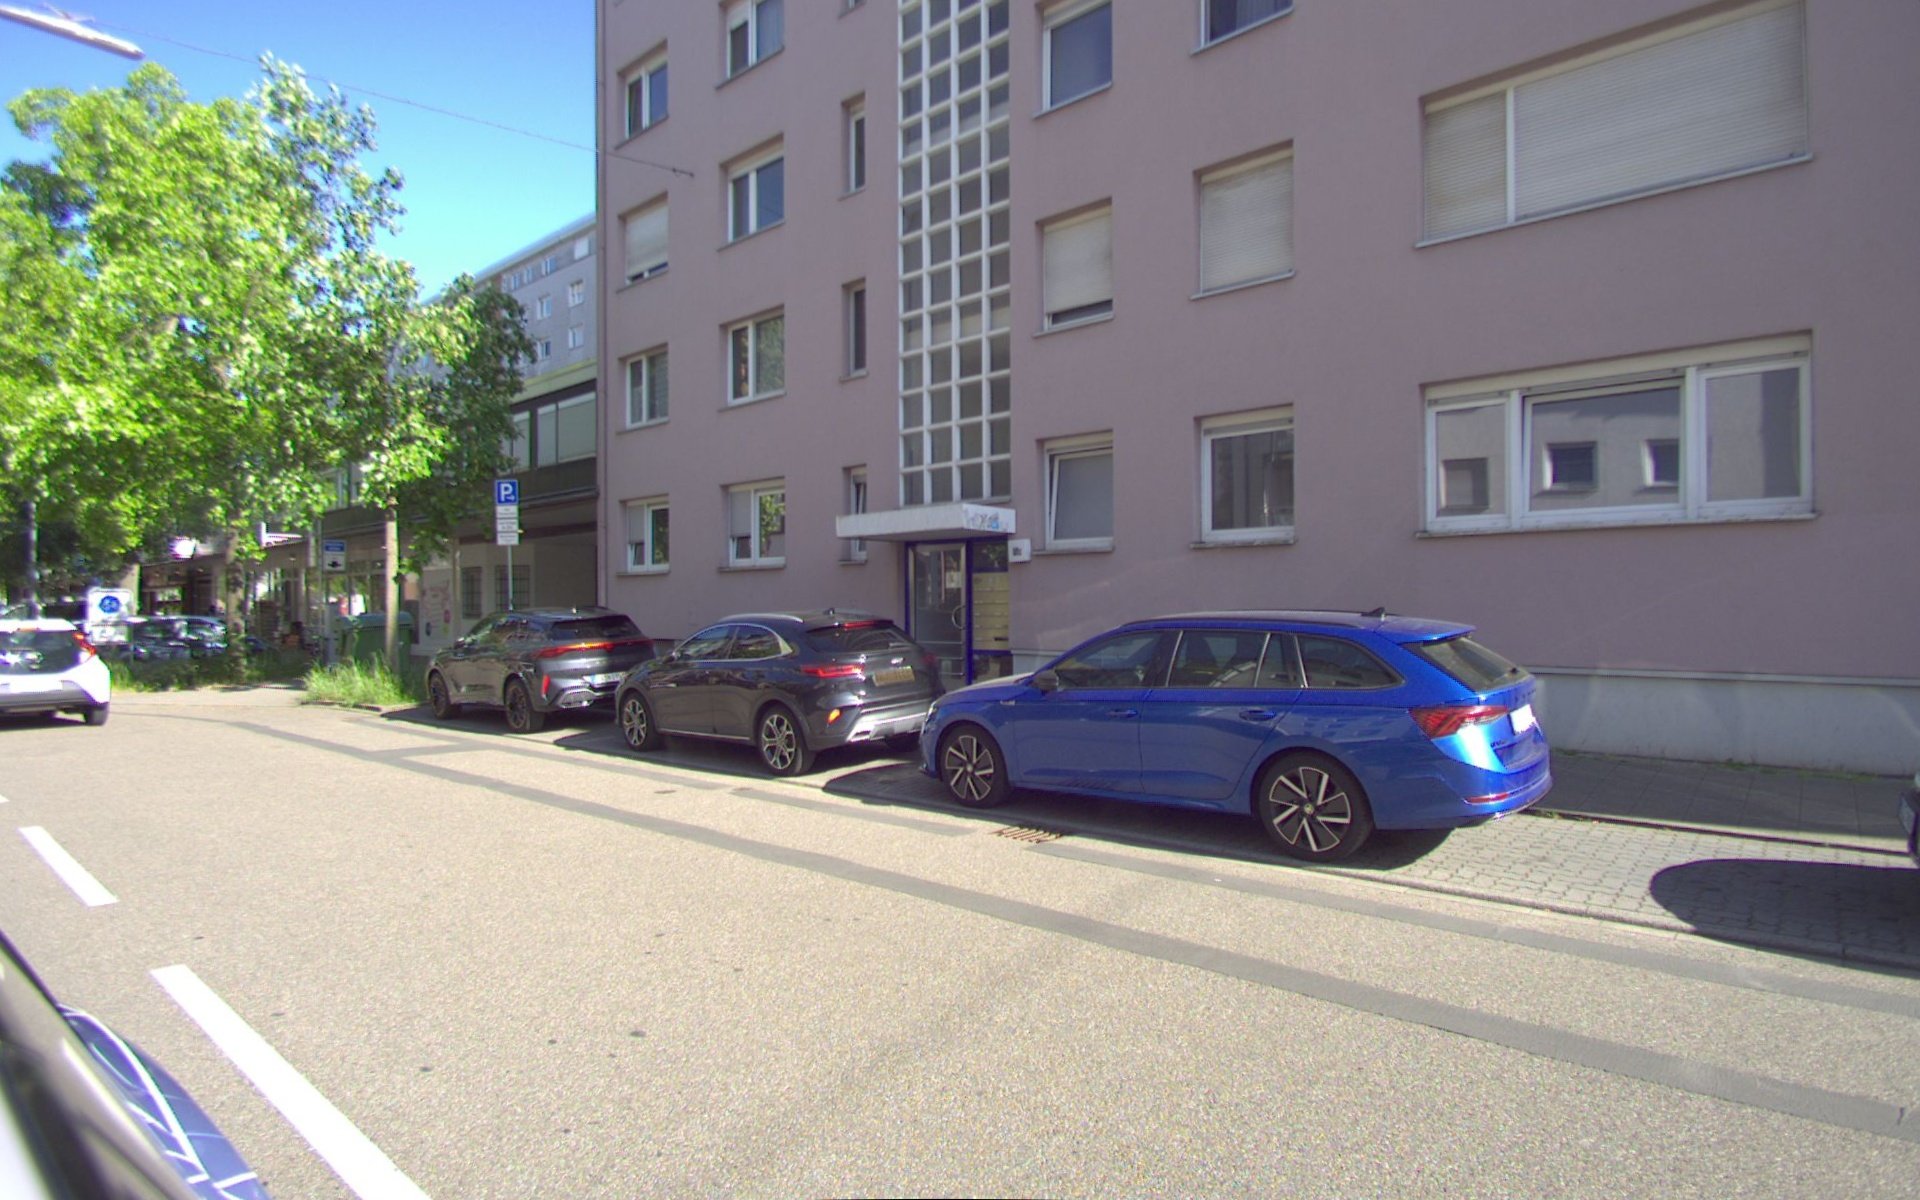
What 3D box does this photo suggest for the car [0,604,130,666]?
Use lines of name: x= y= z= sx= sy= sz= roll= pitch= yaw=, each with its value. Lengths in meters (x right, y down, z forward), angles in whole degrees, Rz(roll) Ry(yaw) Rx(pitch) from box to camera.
car: x=-31.273 y=1.164 z=34.832 sx=1.999 sy=2.047 sz=3.945 roll=-1 pitch=-1 yaw=41

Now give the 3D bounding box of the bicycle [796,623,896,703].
bicycle: x=-1.678 y=0.889 z=14.716 sx=1.649 sy=1.084 sz=0.386 roll=-1 pitch=3 yaw=42

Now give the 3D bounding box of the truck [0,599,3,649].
truck: x=-52.441 y=1.241 z=51.394 sx=1.993 sy=2.615 sz=5.266 roll=-1 pitch=-1 yaw=31

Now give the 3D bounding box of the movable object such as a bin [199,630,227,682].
movable object such as a bin: x=-18.477 y=1.377 z=25.028 sx=0.409 sy=1.234 sz=0.482 roll=-1 pitch=-1 yaw=41

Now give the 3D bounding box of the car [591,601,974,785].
car: x=-2.038 y=0.835 z=10.804 sx=4.245 sy=1.519 sz=1.798 roll=-1 pitch=1 yaw=43

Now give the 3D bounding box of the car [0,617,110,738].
car: x=-13.714 y=1.043 z=14.399 sx=3.780 sy=1.548 sz=1.748 roll=-1 pitch=-1 yaw=38

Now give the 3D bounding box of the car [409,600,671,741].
car: x=-6.043 y=0.888 z=14.335 sx=4.141 sy=1.604 sz=1.798 roll=-1 pitch=2 yaw=43

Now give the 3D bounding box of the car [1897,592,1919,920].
car: x=6.310 y=0.674 z=3.197 sx=4.812 sy=1.477 sz=1.699 roll=-1 pitch=0 yaw=41

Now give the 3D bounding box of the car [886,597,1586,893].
car: x=1.706 y=0.782 z=7.355 sx=4.610 sy=1.476 sz=1.699 roll=-1 pitch=1 yaw=41

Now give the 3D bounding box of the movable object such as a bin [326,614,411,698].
movable object such as a bin: x=-11.566 y=1.059 z=19.778 sx=1.230 sy=1.557 sz=1.019 roll=0 pitch=-1 yaw=-44

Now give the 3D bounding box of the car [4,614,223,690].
car: x=-20.961 y=1.222 z=25.174 sx=1.999 sy=1.687 sz=3.945 roll=-1 pitch=-1 yaw=41
